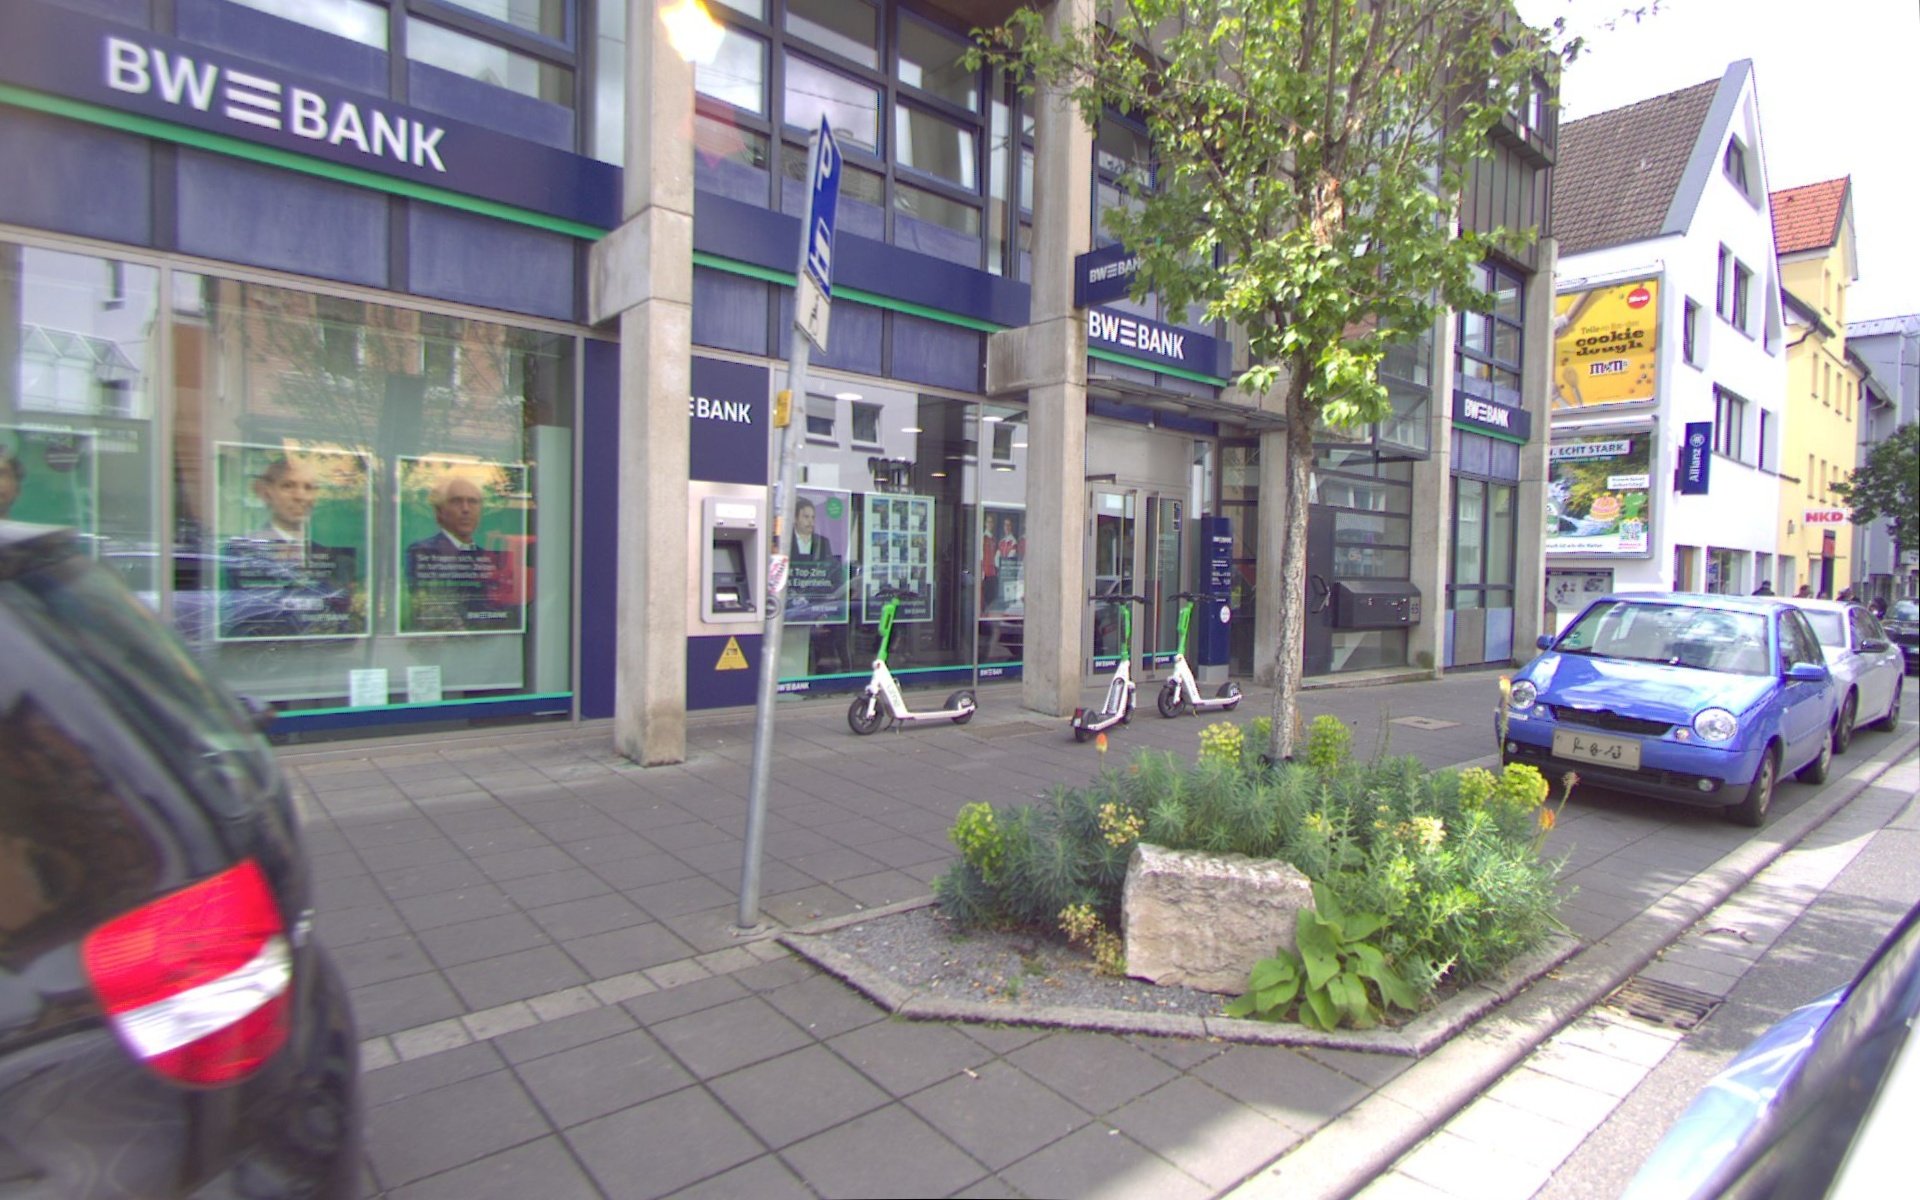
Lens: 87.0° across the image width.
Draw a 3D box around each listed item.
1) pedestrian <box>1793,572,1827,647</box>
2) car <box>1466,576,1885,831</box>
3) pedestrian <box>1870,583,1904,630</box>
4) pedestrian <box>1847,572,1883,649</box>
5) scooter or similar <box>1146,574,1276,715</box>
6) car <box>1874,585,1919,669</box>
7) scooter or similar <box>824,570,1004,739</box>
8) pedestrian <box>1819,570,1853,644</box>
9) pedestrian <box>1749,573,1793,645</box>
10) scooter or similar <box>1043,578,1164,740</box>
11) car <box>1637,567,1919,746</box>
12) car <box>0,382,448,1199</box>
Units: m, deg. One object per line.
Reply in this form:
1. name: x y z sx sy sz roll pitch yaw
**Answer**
1. pedestrian: 21.540 0.234 25.646 0.566 1.863 0.589 -1 1 -40
2. car: 5.759 0.576 7.963 4.036 1.512 1.725 -1 1 -40
3. pedestrian: 32.068 0.212 34.995 0.713 1.572 0.751 -1 3 -42
4. pedestrian: 22.223 0.238 24.853 0.566 1.863 0.589 -1 1 -40
5. scooter or similar: 2.428 0.381 9.706 1.534 1.261 0.422 -1 1 -42
6. car: 20.086 0.509 20.622 4.038 1.596 1.724 -1 1 -41
7. scooter or similar: -0.342 0.395 8.225 1.534 1.261 0.422 -1 1 -42
8. pedestrian: 22.380 0.173 25.855 0.566 1.863 0.589 -1 1 -40
9. pedestrian: 20.368 0.212 25.431 0.744 1.759 0.742 -1 1 -40
10. scooter or similar: 1.233 0.447 8.535 0.404 1.261 1.306 0 1 38
11. car: 9.238 0.604 11.150 4.349 1.598 1.723 1 -5 -40
12. car: -2.563 0.527 0.644 3.727 1.551 1.613 0 3 -40
